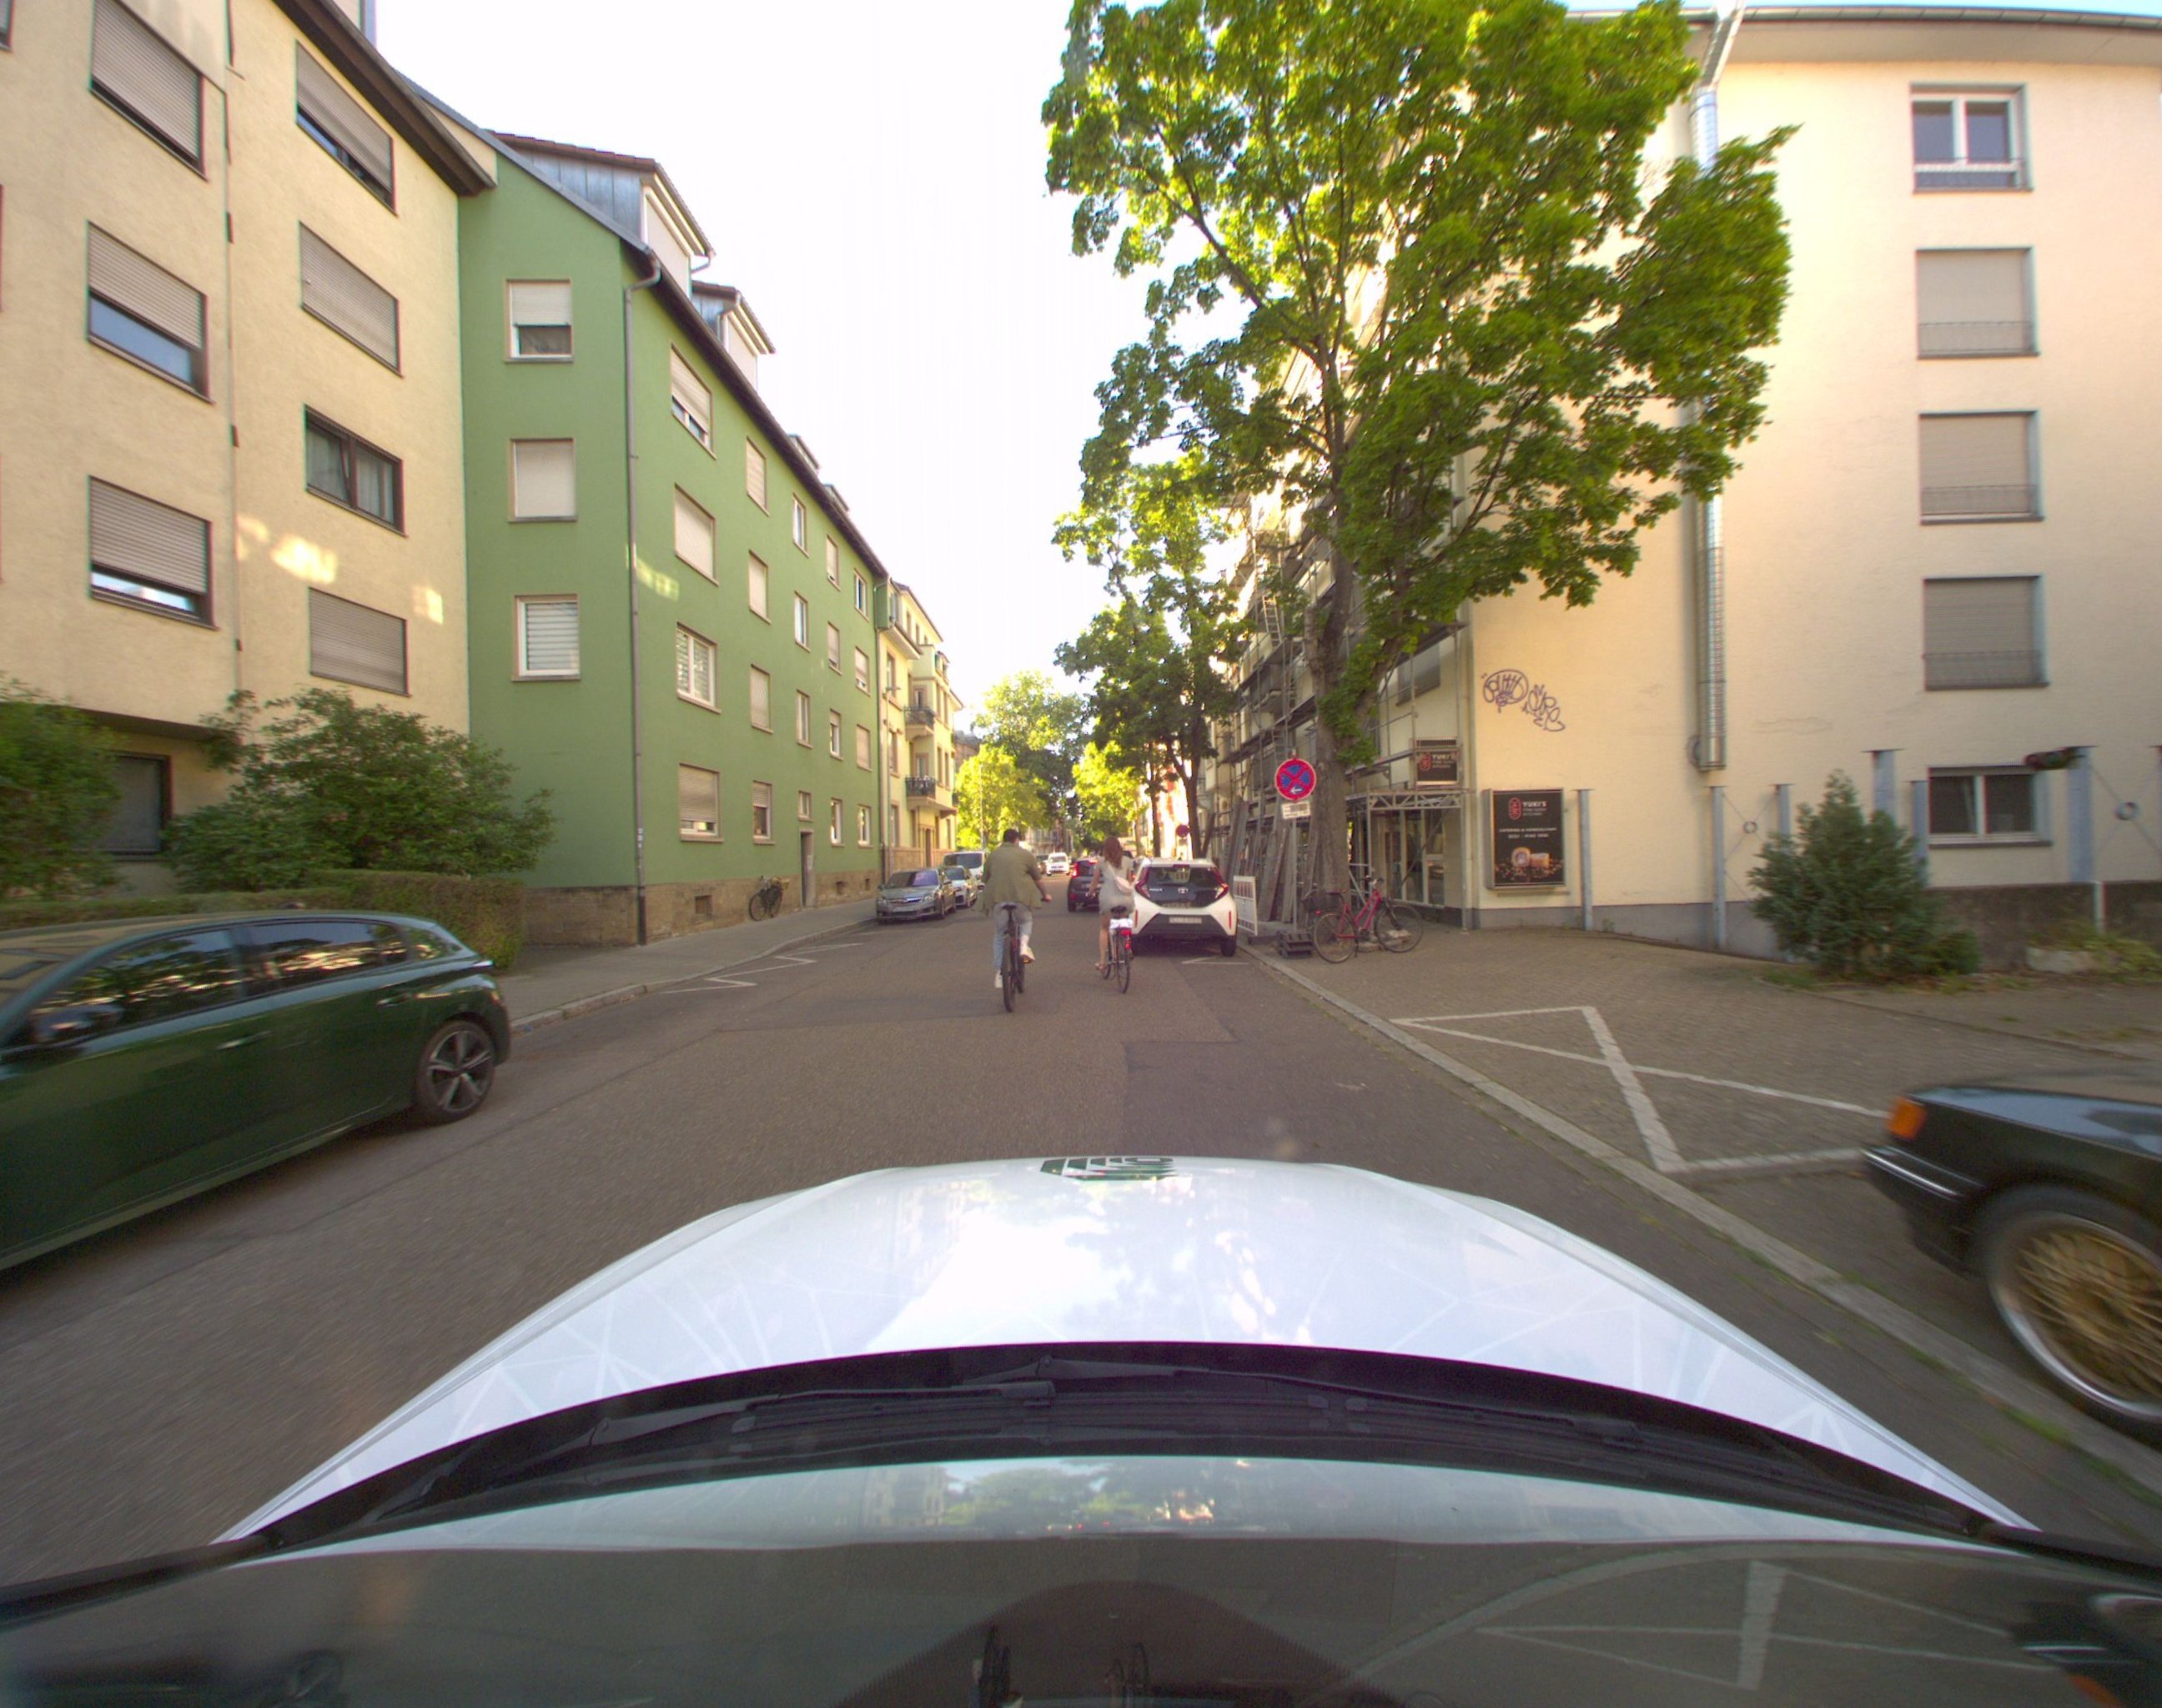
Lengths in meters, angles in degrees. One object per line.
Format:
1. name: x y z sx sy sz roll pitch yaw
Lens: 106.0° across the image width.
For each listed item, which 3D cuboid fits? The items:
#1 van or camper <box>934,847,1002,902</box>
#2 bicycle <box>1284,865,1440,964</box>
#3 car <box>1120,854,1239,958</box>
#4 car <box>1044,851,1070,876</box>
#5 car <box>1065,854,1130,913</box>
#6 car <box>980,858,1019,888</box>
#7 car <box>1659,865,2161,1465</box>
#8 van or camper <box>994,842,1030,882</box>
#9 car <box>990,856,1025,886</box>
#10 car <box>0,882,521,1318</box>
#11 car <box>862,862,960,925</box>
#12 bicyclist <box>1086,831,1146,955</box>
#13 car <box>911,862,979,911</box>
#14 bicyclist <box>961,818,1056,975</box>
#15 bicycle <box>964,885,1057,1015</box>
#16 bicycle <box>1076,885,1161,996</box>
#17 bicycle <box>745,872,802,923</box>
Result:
1. van or camper: -4.602 0.796 33.857 1.986 2.013 4.912 -2 0 1
2. bicycle: 3.939 0.807 11.421 1.985 1.165 0.722 -4 0 -18
3. car: 1.547 0.781 13.835 1.669 1.545 3.404 0 0 1
4. car: -1.903 0.750 65.762 1.775 1.861 4.200 -2 0 1
5. car: 0.547 0.801 23.710 1.549 1.533 3.492 -2 0 6
6. car: -4.433 1.020 44.880 1.705 1.505 4.000 -2 0 0
7. car: 3.421 0.748 1.338 1.702 1.388 4.569 -1 0 0
8. van or camper: -4.629 0.529 55.465 1.987 2.553 5.021 -2 0 -1
9. car: -4.401 1.000 49.352 1.705 1.699 4.000 -2 0 0
10. car: -4.817 0.982 3.627 1.747 1.497 4.133 -4 0 -1
11. car: -4.640 1.024 22.844 1.974 1.455 4.109 -4 0 -3
12. bicyclist: 0.411 0.473 9.674 0.621 1.381 0.868 -2 -5 1
13. car: -4.562 1.064 27.825 1.682 1.453 3.708 -2 0 -1
14. bicyclist: -0.757 0.450 8.725 0.878 1.562 0.868 -2 -4 1
15. bicycle: -0.701 0.953 8.835 0.837 1.149 2.231 -2 -1 -2
16. bicycle: 0.402 0.982 9.933 0.837 1.149 2.230 1 -1 -3
17. bicycle: -7.997 1.103 21.298 0.549 1.178 2.279 1 0 1
